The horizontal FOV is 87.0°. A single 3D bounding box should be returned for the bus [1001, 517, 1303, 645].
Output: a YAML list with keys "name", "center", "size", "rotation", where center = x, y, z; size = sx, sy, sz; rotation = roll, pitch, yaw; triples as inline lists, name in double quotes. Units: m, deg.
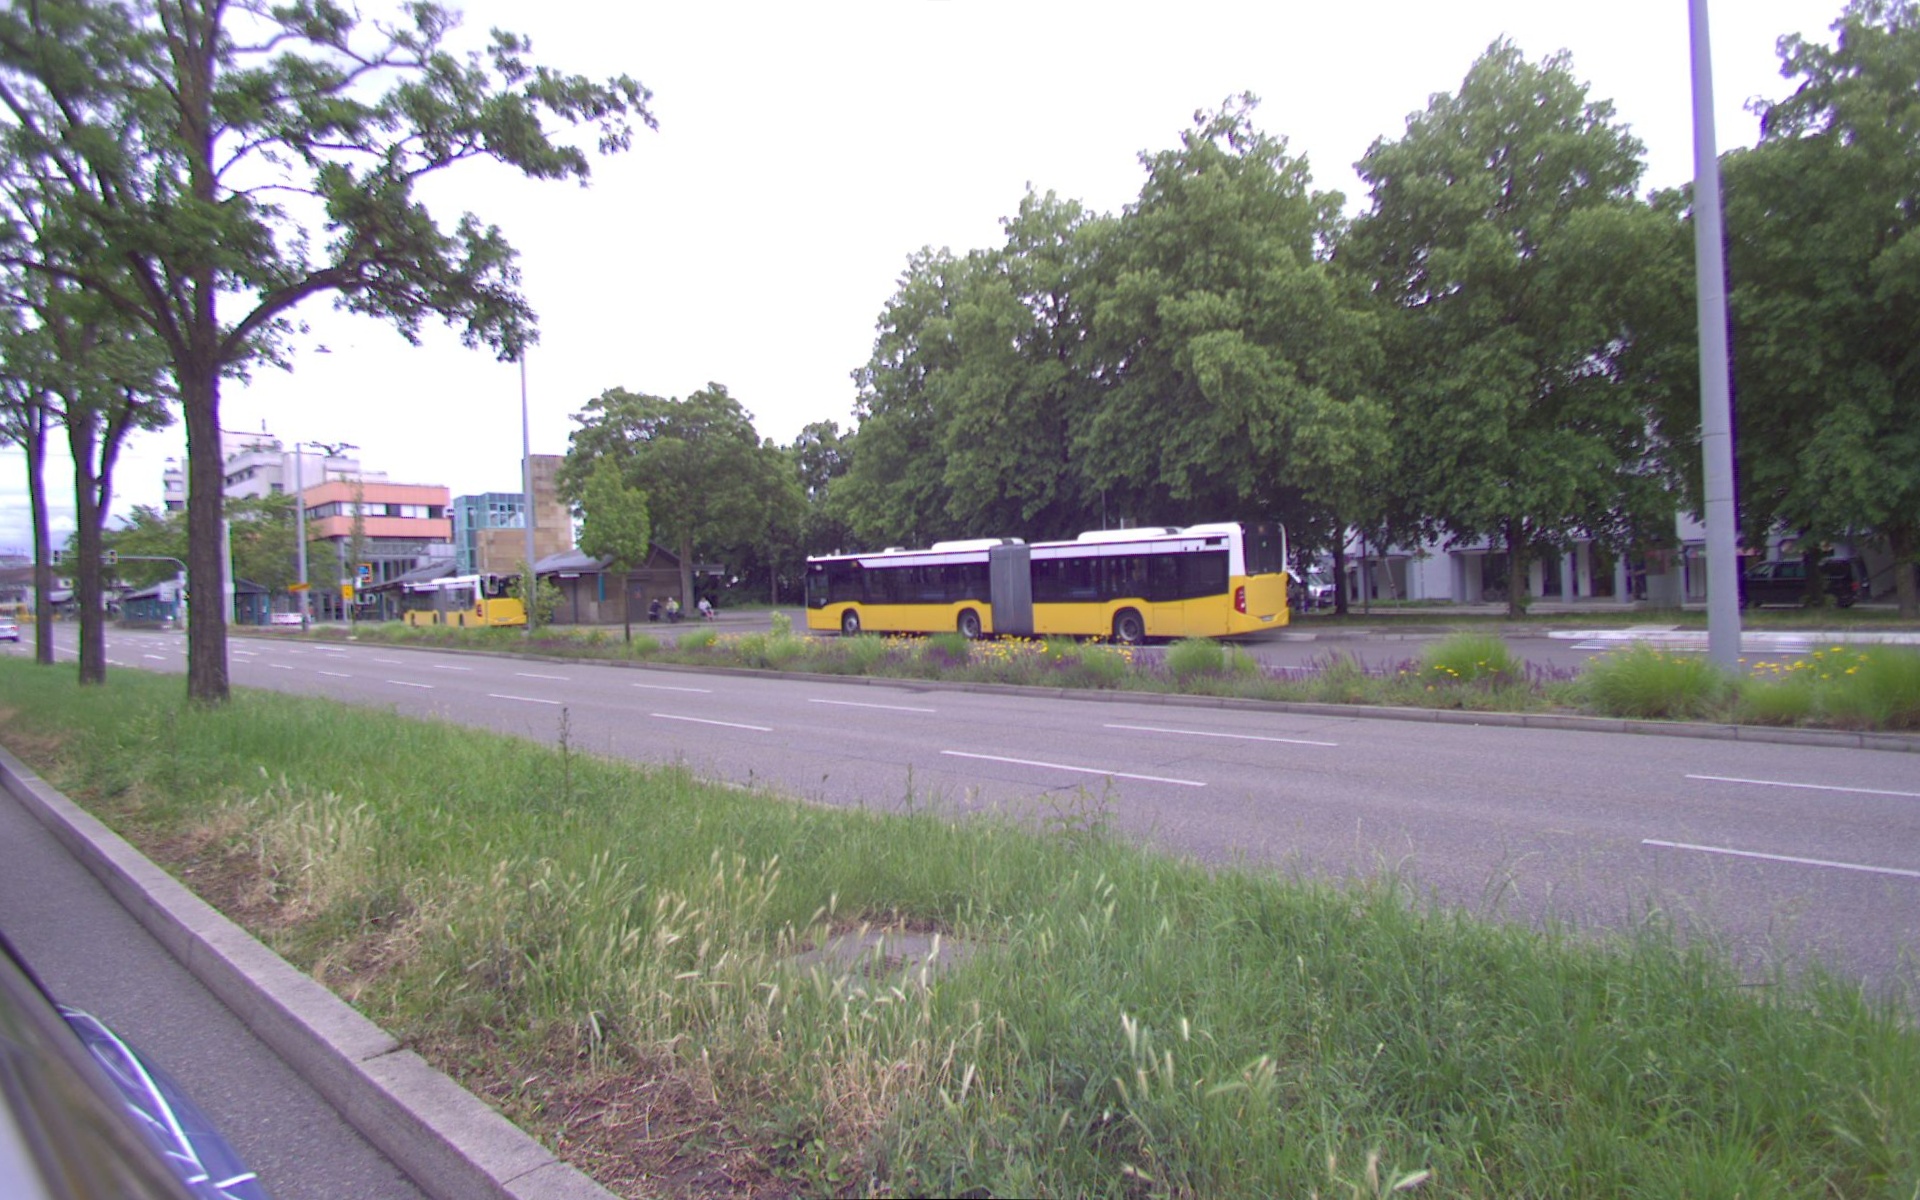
- name: "bus"
  center: [4.966, -0.407, 27.640]
  size: [2.848, 3.025, 7.889]
  rotation: [-1, 0, -44]

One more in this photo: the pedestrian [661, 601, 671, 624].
- name: "pedestrian"
  center: [-14.990, 0.649, 51.657]
  size: [0.361, 1.175, 0.900]
  rotation: [-1, 0, -23]

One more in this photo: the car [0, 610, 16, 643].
- name: "car"
  center: [-61.320, 1.684, 64.303]
  size: [4.000, 2.029, 1.703]
  rotation: [-1, 0, 43]

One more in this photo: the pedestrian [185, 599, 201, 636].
- name: "pedestrian"
  center: [-59.618, 1.336, 78.668]
  size: [0.889, 2.809, 1.150]
  rotation: [-1, 0, -36]

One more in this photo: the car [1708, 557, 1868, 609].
- name: "car"
  center: [31.764, -0.617, 38.944]
  size: [1.758, 1.861, 4.429]
  rotation: [-1, 0, -35]

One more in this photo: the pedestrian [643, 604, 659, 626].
- name: "pedestrian"
  center: [-16.239, 0.782, 53.192]
  size: [0.590, 1.171, 0.745]
  rotation: [-1, 0, -32]

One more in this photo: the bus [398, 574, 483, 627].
- name: "bus"
  center: [-32.604, 0.076, 63.290]
  size: [2.846, 3.025, 9.191]
  rotation: [-1, 0, -39]

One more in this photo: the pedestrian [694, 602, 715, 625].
- name: "pedestrian"
  center: [-13.212, 0.694, 52.387]
  size: [0.924, 1.180, 0.641]
  rotation: [-1, 0, 41]

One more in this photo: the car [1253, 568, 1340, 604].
- name: "car"
  center: [17.364, -0.695, 52.378]
  size: [1.663, 1.763, 4.010]
  rotation: [-1, 0, -36]

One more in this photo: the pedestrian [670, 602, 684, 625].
- name: "pedestrian"
  center: [-14.477, 0.695, 51.827]
  size: [0.589, 1.171, 0.745]
  rotation: [-1, 0, -23]

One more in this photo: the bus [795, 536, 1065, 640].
- name: "bus"
  center: [-1.382, -0.290, 34.275]
  size: [2.848, 3.025, 10.401]
  rotation: [-1, 0, -44]

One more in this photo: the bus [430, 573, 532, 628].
- name: "bus"
  center: [-26.920, 0.071, 56.607]
  size: [2.846, 2.830, 9.190]
  rotation: [-1, 0, -40]
